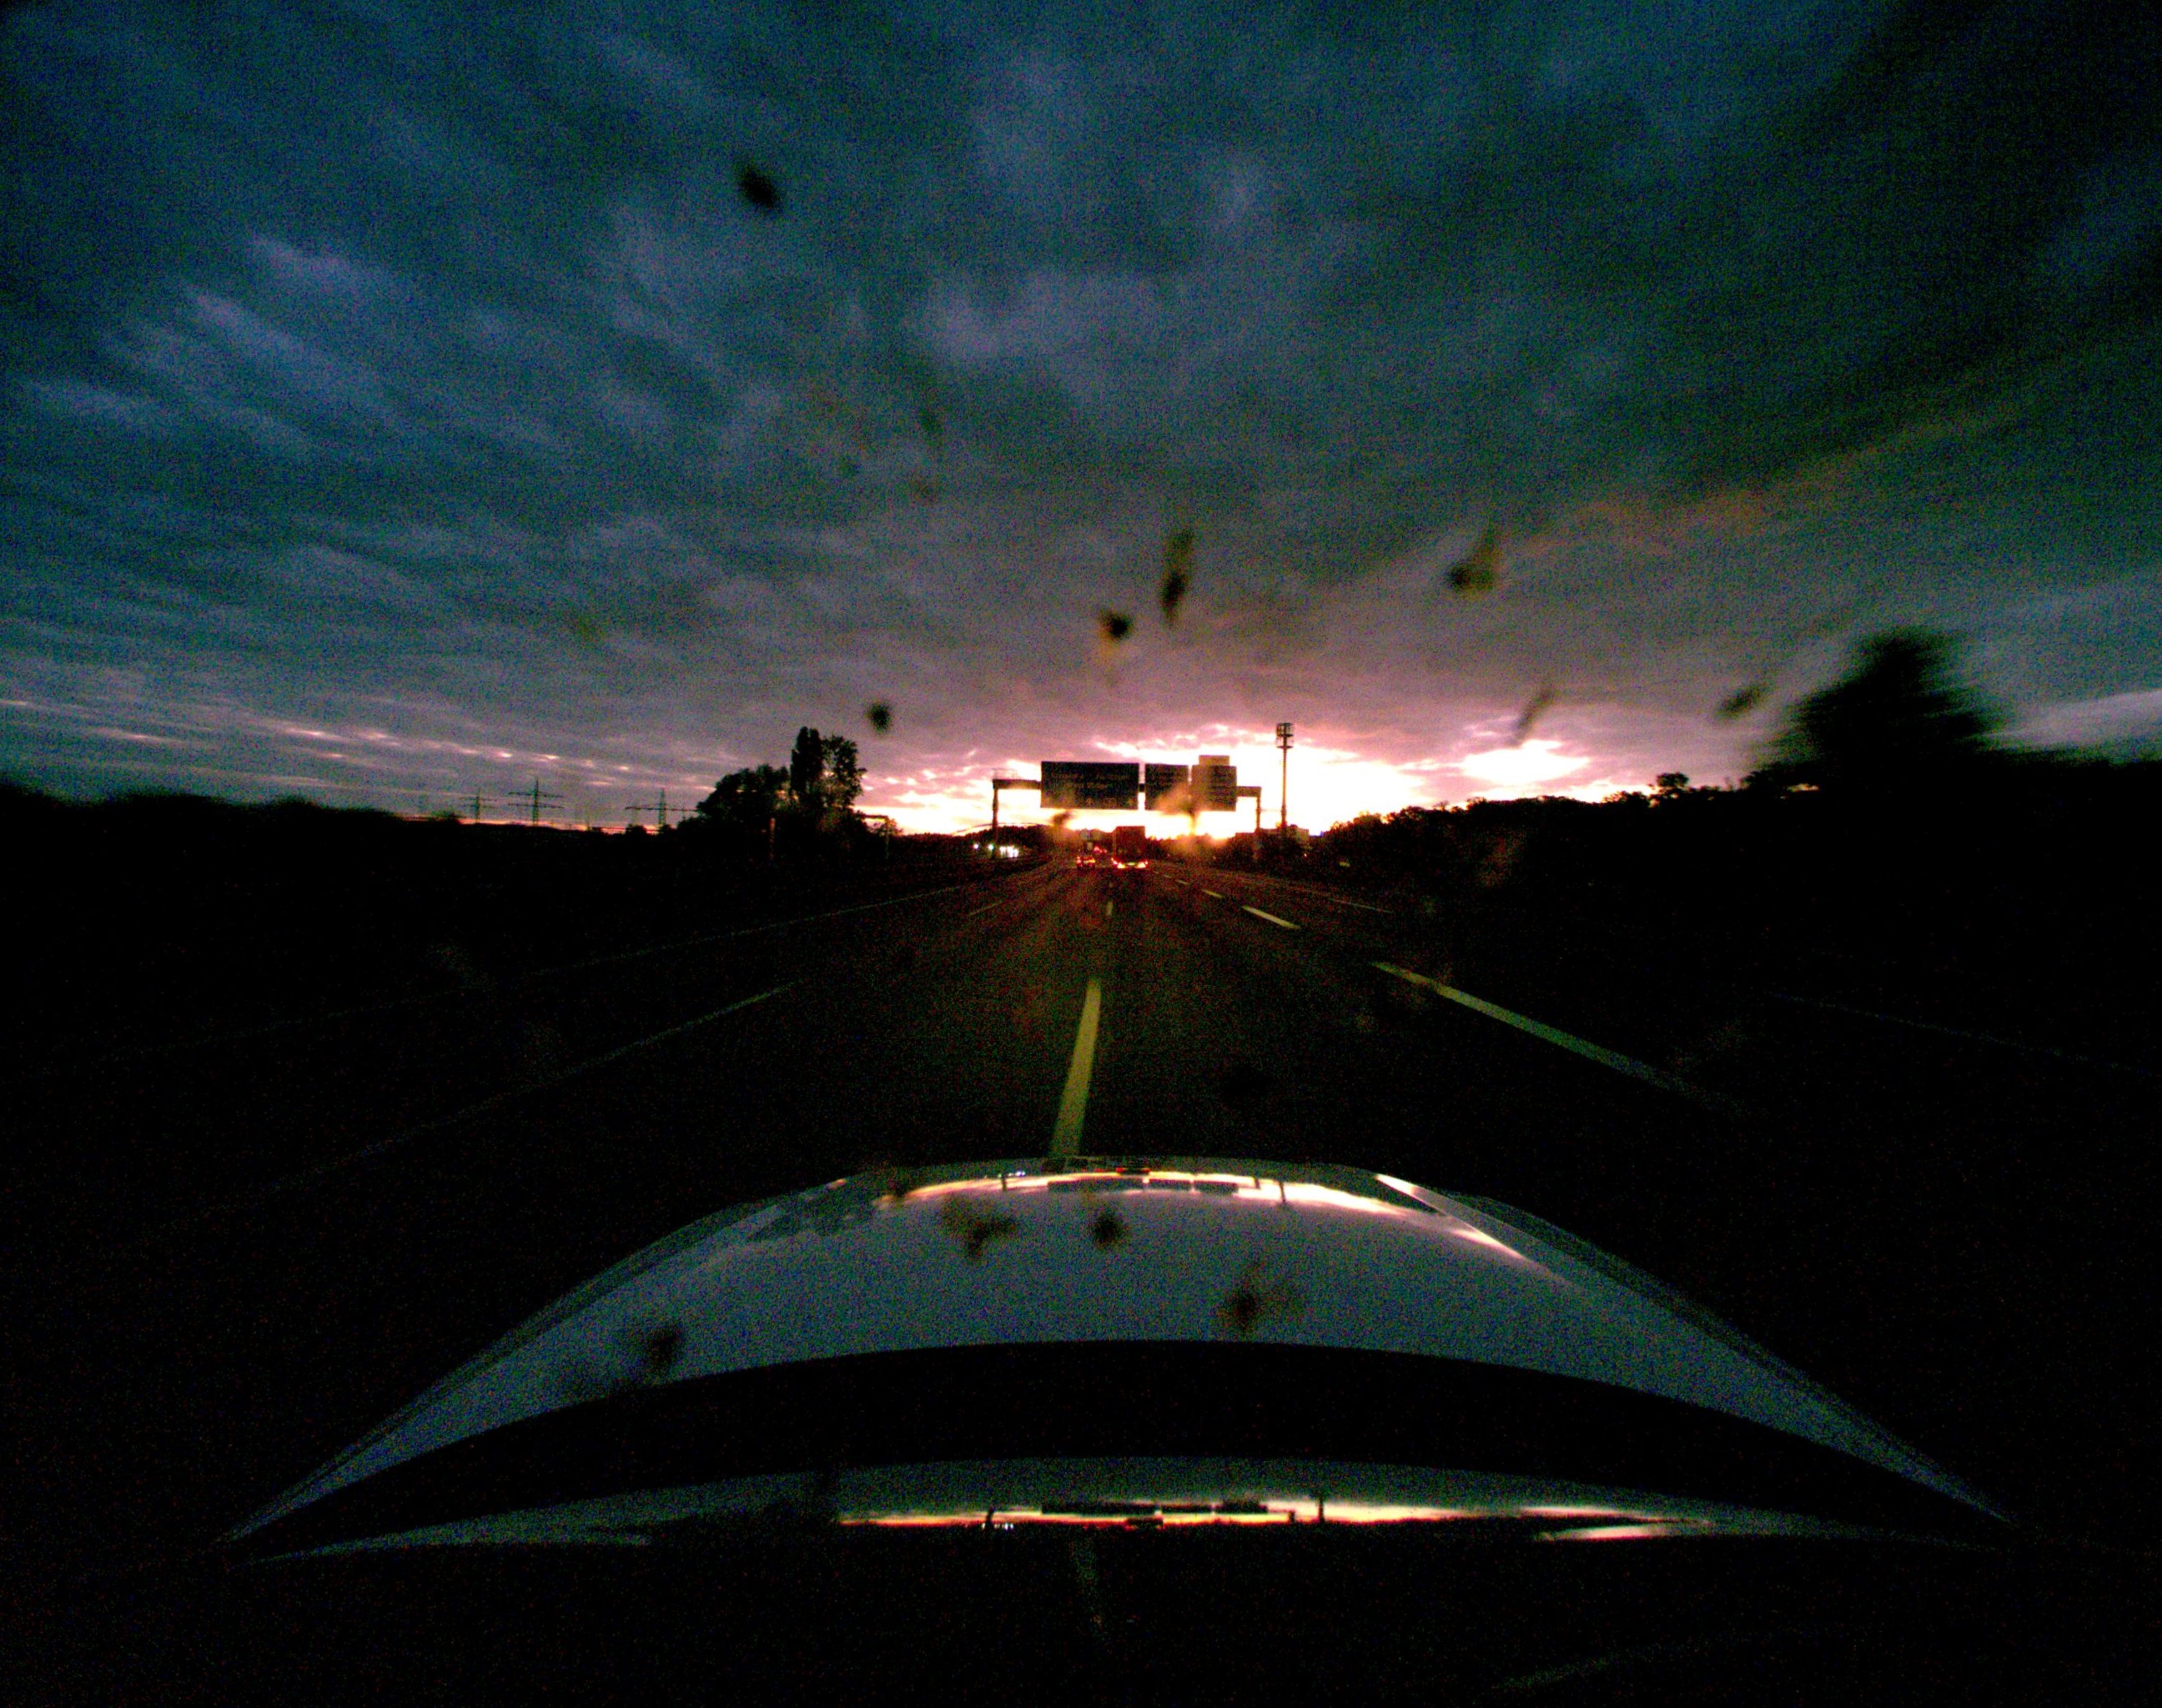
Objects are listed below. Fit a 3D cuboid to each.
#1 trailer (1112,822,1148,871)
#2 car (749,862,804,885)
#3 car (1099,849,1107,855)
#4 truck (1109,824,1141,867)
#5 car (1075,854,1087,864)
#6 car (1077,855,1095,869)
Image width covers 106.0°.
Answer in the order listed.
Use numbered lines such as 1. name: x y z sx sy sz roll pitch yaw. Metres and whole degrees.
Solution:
1. trailer: 4.290 -0.707 72.538 2.713 4.071 8.831 0 1 0
2. car: -20.463 1.292 54.837 1.986 1.404 4.330 0 0 1
3. car: 6.448 -0.567 238.227 1.990 1.717 3.994 0 -1 -4
4. truck: 4.363 -0.850 82.200 2.681 4.071 10.520 0 1 0
5. car: -0.044 0.829 133.080 1.682 1.401 3.412 -1 -1 4
6. car: 0.506 0.805 85.340 1.685 1.401 3.406 0 -1 -2
